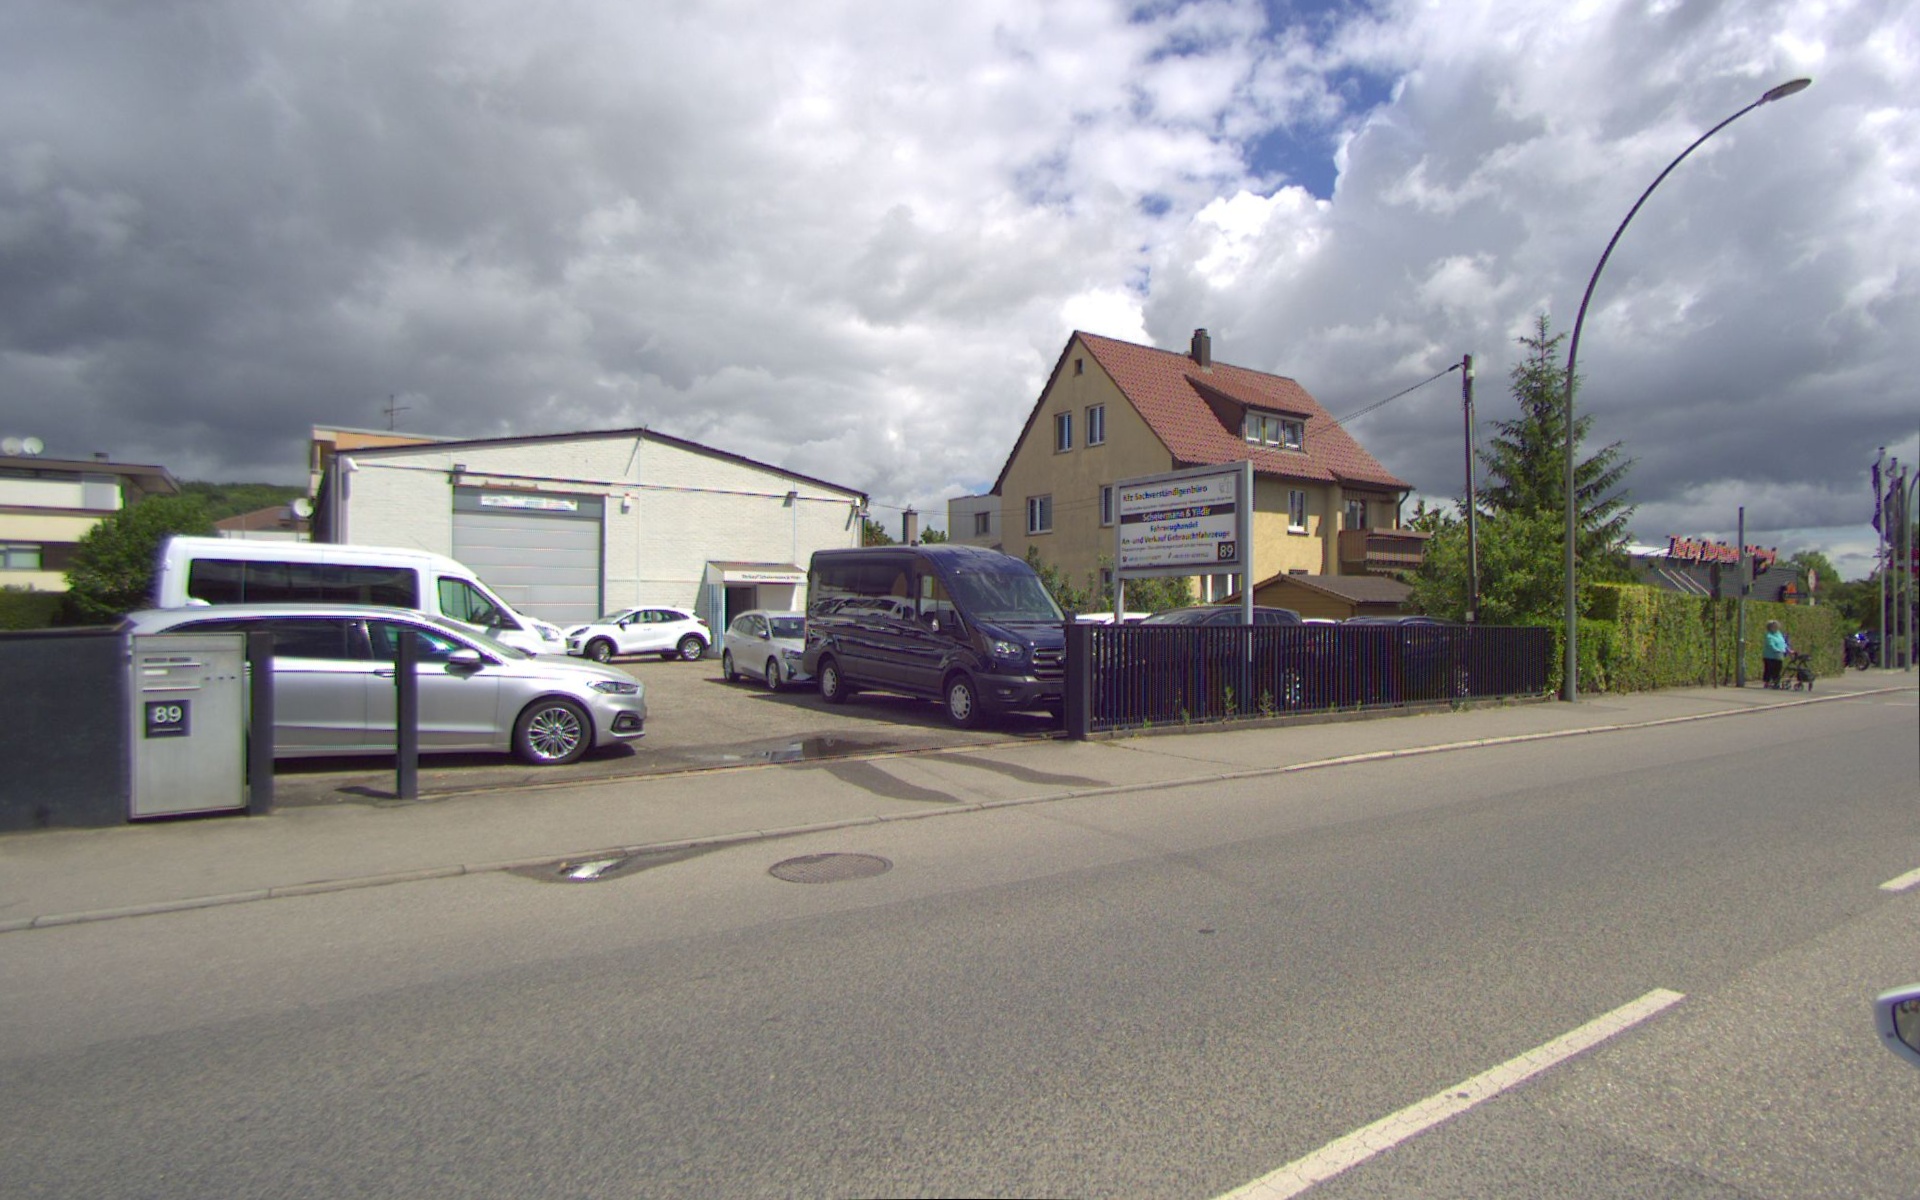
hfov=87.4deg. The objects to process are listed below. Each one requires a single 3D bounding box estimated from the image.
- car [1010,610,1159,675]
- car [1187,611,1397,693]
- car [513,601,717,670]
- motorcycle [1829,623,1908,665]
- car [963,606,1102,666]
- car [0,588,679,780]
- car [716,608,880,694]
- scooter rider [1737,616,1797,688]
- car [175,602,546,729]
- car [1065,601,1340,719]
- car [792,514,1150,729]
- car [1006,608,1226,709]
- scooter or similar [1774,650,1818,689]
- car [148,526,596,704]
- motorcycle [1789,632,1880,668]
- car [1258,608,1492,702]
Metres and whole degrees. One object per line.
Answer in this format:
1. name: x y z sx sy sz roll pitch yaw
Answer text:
1. car: 3.401 1.118 27.053 3.966 1.639 1.762 1 -2 -39
2. car: 6.939 1.023 20.859 4.227 1.527 2.138 1 -2 -37
3. car: -9.427 0.969 27.674 4.960 1.735 2.034 1 -2 -37
4. motorcycle: 38.391 1.845 42.482 1.023 1.705 2.305 2 -1 -10
5. car: 2.168 1.048 29.485 3.966 1.639 1.762 1 -2 -39
6. car: -5.578 0.719 9.804 5.264 1.505 1.989 1 -1 -23
7. car: -3.283 0.946 19.707 1.931 1.499 4.022 1 -2 -29
8. scooter rider: 19.031 1.209 23.689 0.788 1.611 0.873 1 1 -33
9. car: -8.236 0.872 14.330 4.268 1.598 1.841 1 -2 -23
10. car: 3.904 0.881 15.896 4.244 1.616 2.017 1 -2 -37
11. car: -0.161 0.333 14.986 2.451 2.529 6.002 1 -2 -33
12. car: 2.882 1.006 18.210 3.966 1.639 1.762 1 -2 -39
13. scooter or similar: 19.307 1.590 23.188 0.652 0.843 0.608 1 0 -33
14. car: -9.517 0.325 16.881 6.064 2.528 2.401 1 -3 -31
15. motorcycle: 31.897 1.806 36.693 0.910 1.234 2.503 2 -1 -10
16. car: 7.672 0.946 18.464 4.227 1.526 2.138 1 -2 -37
